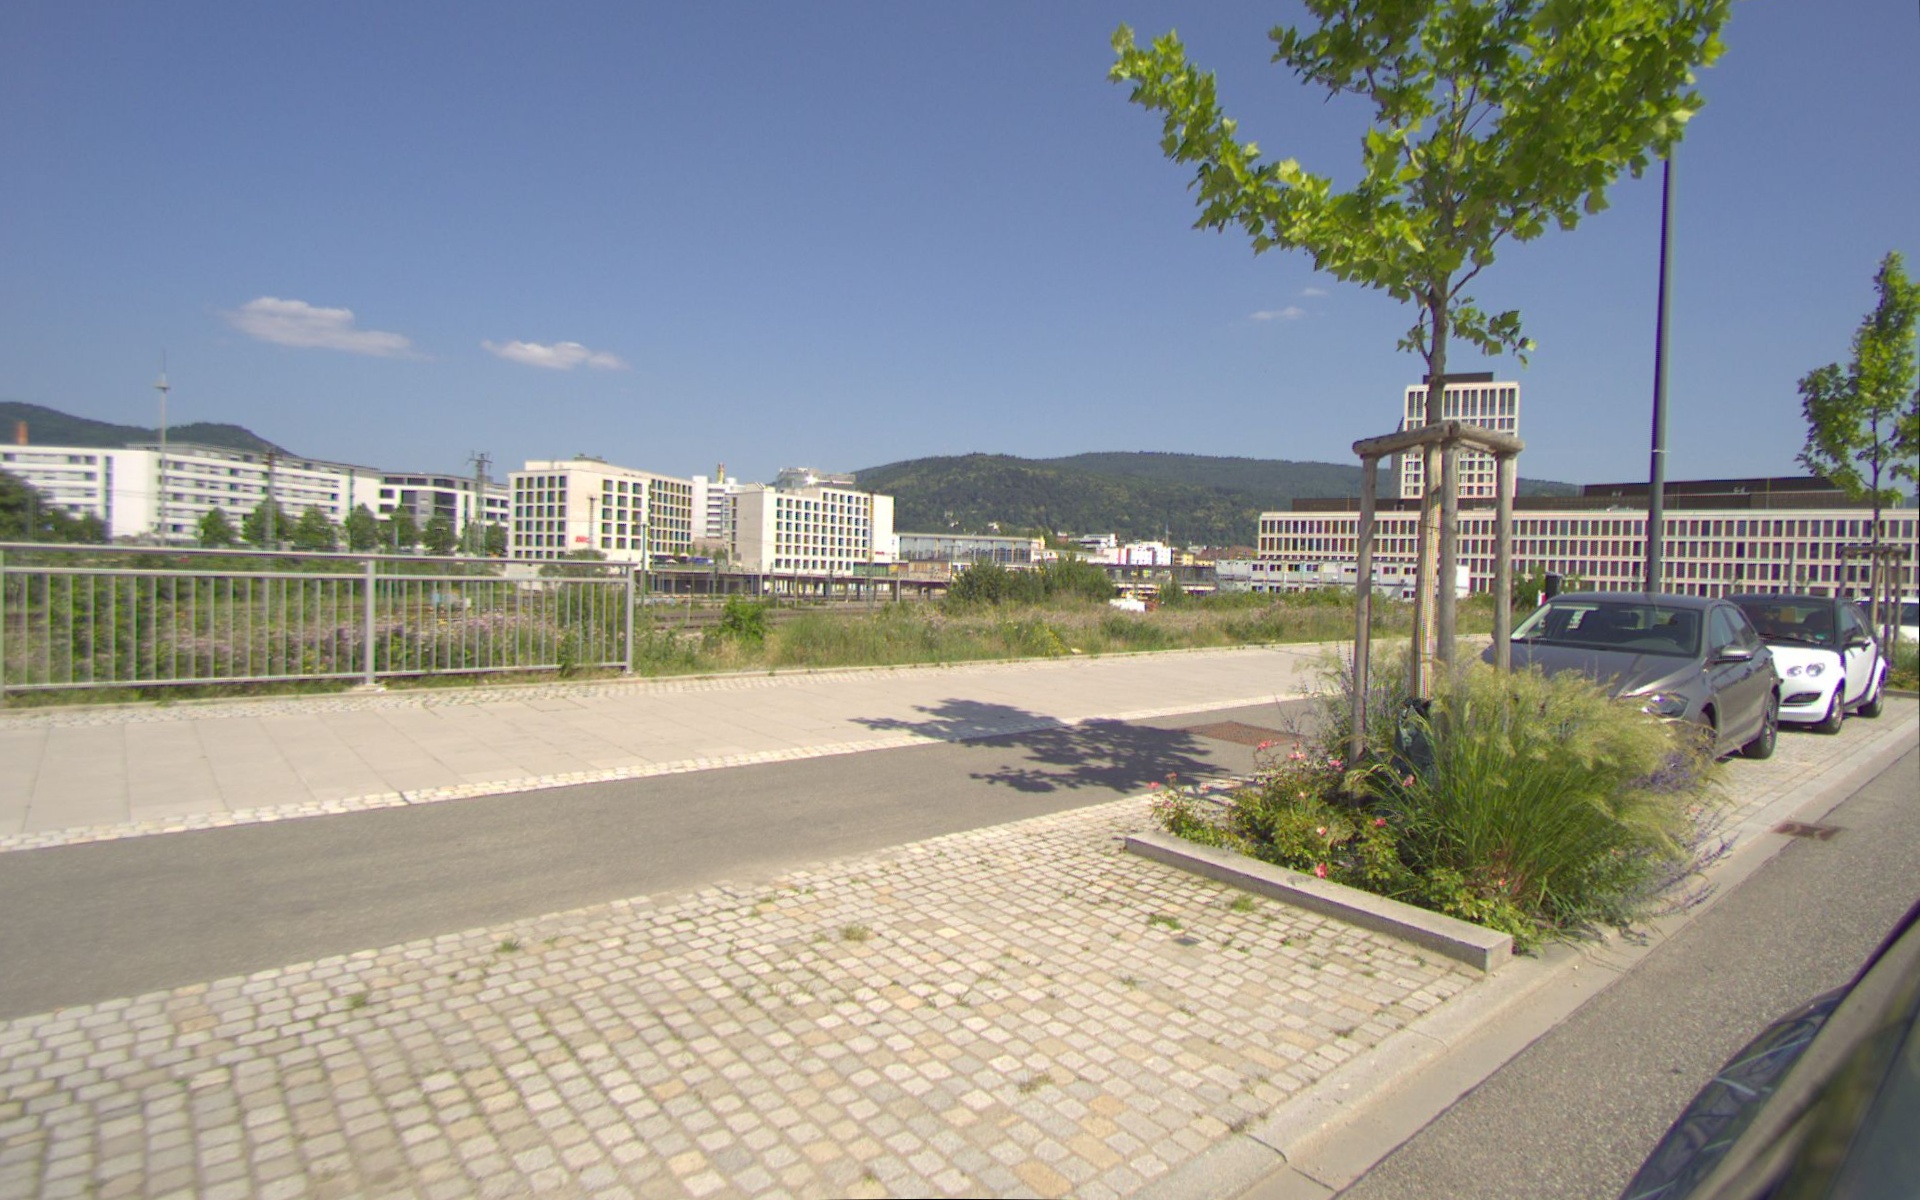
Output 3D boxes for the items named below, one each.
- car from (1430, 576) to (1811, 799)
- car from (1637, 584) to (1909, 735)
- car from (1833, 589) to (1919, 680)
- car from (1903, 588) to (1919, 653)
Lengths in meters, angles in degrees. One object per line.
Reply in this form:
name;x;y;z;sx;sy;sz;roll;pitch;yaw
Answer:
car;5.748;0.572;8.628;3.884;1.481;1.707;0;0;-41
car;9.818;0.599;12.123;4.011;1.481;1.708;0;2;-39
car;17.511;0.581;18.582;3.932;1.528;1.749;0;0;-42
car;24.534;0.509;24.455;4.081;1.497;1.914;0;2;-38
